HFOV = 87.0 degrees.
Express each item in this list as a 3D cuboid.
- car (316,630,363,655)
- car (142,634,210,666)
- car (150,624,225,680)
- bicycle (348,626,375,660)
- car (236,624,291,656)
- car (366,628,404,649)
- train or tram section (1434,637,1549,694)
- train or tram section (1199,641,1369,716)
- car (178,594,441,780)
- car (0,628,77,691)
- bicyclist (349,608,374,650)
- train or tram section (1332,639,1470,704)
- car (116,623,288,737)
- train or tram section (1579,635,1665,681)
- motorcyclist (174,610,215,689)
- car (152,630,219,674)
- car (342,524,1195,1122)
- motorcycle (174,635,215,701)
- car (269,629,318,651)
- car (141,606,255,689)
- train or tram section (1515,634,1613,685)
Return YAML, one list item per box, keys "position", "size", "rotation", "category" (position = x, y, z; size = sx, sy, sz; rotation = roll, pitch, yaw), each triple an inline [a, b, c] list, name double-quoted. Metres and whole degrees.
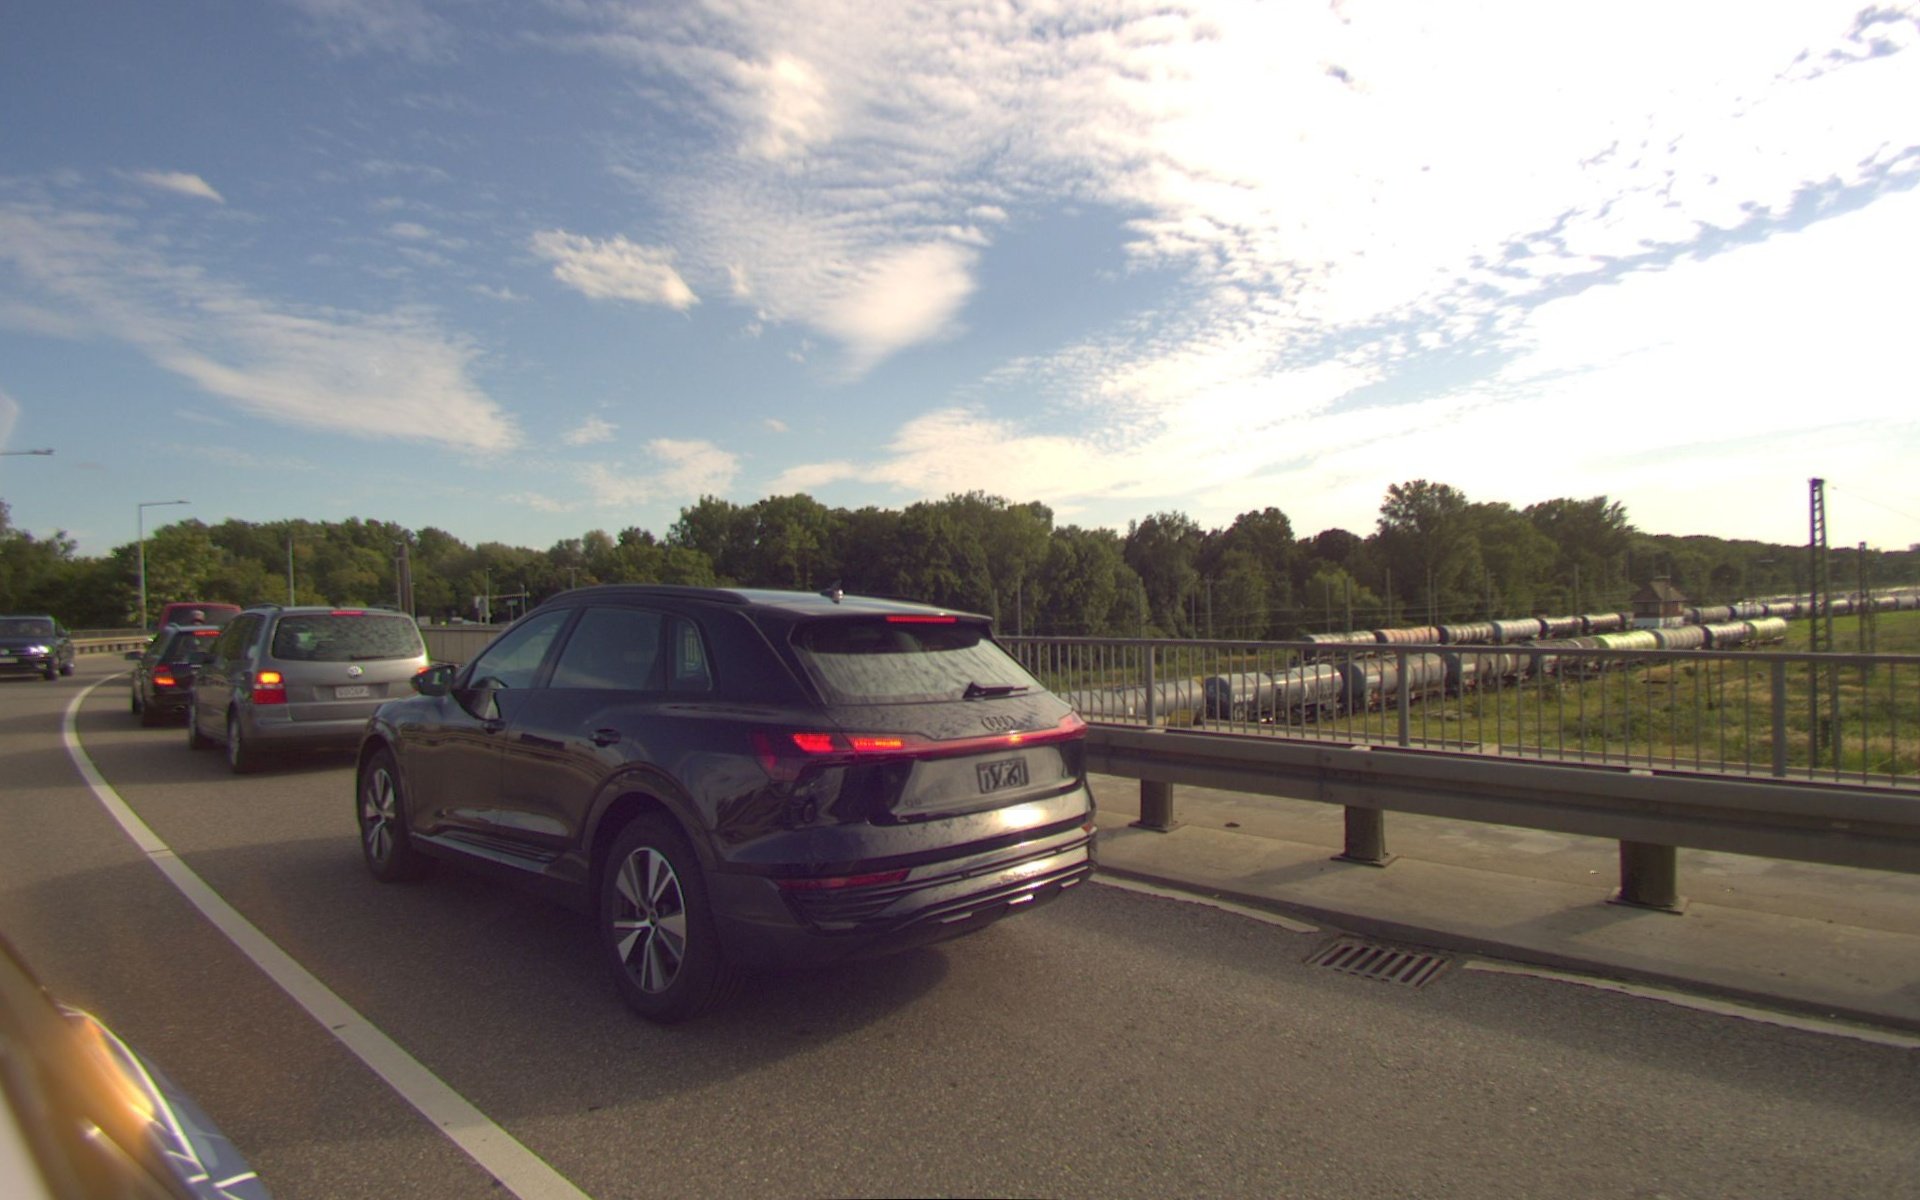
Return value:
- position: [-39.467, 2.667, 64.460]
  size: [1.735, 1.501, 4.459]
  rotation: [1, -2, -21]
  category: "car"
- position: [-37.382, 2.339, 48.349]
  size: [1.788, 1.415, 4.405]
  rotation: [1, -2, -28]
  category: "car"
- position: [-24.341, 1.596, 31.986]
  size: [1.729, 1.622, 4.324]
  rotation: [1, -2, -36]
  category: "car"
- position: [-24.370, 1.750, 41.218]
  size: [0.754, 1.342, 1.921]
  rotation: [1, -2, -36]
  category: "bicycle"
- position: [-33.779, 1.915, 49.177]
  size: [1.716, 1.512, 4.090]
  rotation: [1, -2, -28]
  category: "car"
- position: [-43.259, 2.865, 76.236]
  size: [1.735, 1.501, 4.405]
  rotation: [1, -2, -20]
  category: "car"
- position: [49.903, 5.972, 94.577]
  size: [16.479, 4.748, 3.103]
  rotation: [1, -2, -38]
  category: "train or tram section"
- position: [24.085, 5.533, 74.140]
  size: [16.478, 4.748, 3.103]
  rotation: [1, -2, -38]
  category: "train or tram section"
- position: [-7.309, 0.835, 11.178]
  size: [1.661, 1.662, 4.302]
  rotation: [2, -2, -43]
  category: "car"
- position: [-24.552, 1.485, 26.307]
  size: [1.789, 1.519, 4.403]
  rotation: [1, -2, -33]
  category: "car"
- position: [-24.344, 1.179, 41.181]
  size: [0.756, 1.673, 1.123]
  rotation: [1, -2, -36]
  category: "bicyclist"
- position: [37.000, 5.752, 84.323]
  size: [16.479, 4.748, 3.103]
  rotation: [1, -2, -38]
  category: "train or tram section"
- position: [-11.729, 1.111, 15.543]
  size: [1.810, 1.477, 4.524]
  rotation: [2, -2, -40]
  category: "car"
- position: [75.261, 6.407, 114.868]
  size: [16.479, 4.748, 3.103]
  rotation: [1, -2, -38]
  category: "train or tram section"
- position: [-15.606, 0.988, 20.624]
  size: [0.612, 1.565, 0.939]
  rotation: [2, -2, -38]
  category: "motorcyclist"
- position: [-28.595, 1.887, 37.468]
  size: [1.717, 1.512, 4.088]
  rotation: [1, -2, -34]
  category: "car"
- position: [-1.332, 0.680, 5.111]
  size: [4.589, 1.662, 1.904]
  rotation: [-1, -2, 43]
  category: "car"
- position: [-15.625, 1.357, 20.648]
  size: [0.612, 1.262, 1.796]
  rotation: [2, -2, -38]
  category: "motorcycle"
- position: [-46.433, 2.762, 70.575]
  size: [1.789, 1.519, 4.405]
  rotation: [1, -2, -19]
  category: "car"
- position: [-19.646, 1.171, 25.996]
  size: [1.982, 1.918, 4.875]
  rotation: [2, -2, -41]
  category: "car"
- position: [62.763, 6.017, 104.818]
  size: [16.479, 4.748, 3.103]
  rotation: [1, -2, -38]
  category: "train or tram section"
